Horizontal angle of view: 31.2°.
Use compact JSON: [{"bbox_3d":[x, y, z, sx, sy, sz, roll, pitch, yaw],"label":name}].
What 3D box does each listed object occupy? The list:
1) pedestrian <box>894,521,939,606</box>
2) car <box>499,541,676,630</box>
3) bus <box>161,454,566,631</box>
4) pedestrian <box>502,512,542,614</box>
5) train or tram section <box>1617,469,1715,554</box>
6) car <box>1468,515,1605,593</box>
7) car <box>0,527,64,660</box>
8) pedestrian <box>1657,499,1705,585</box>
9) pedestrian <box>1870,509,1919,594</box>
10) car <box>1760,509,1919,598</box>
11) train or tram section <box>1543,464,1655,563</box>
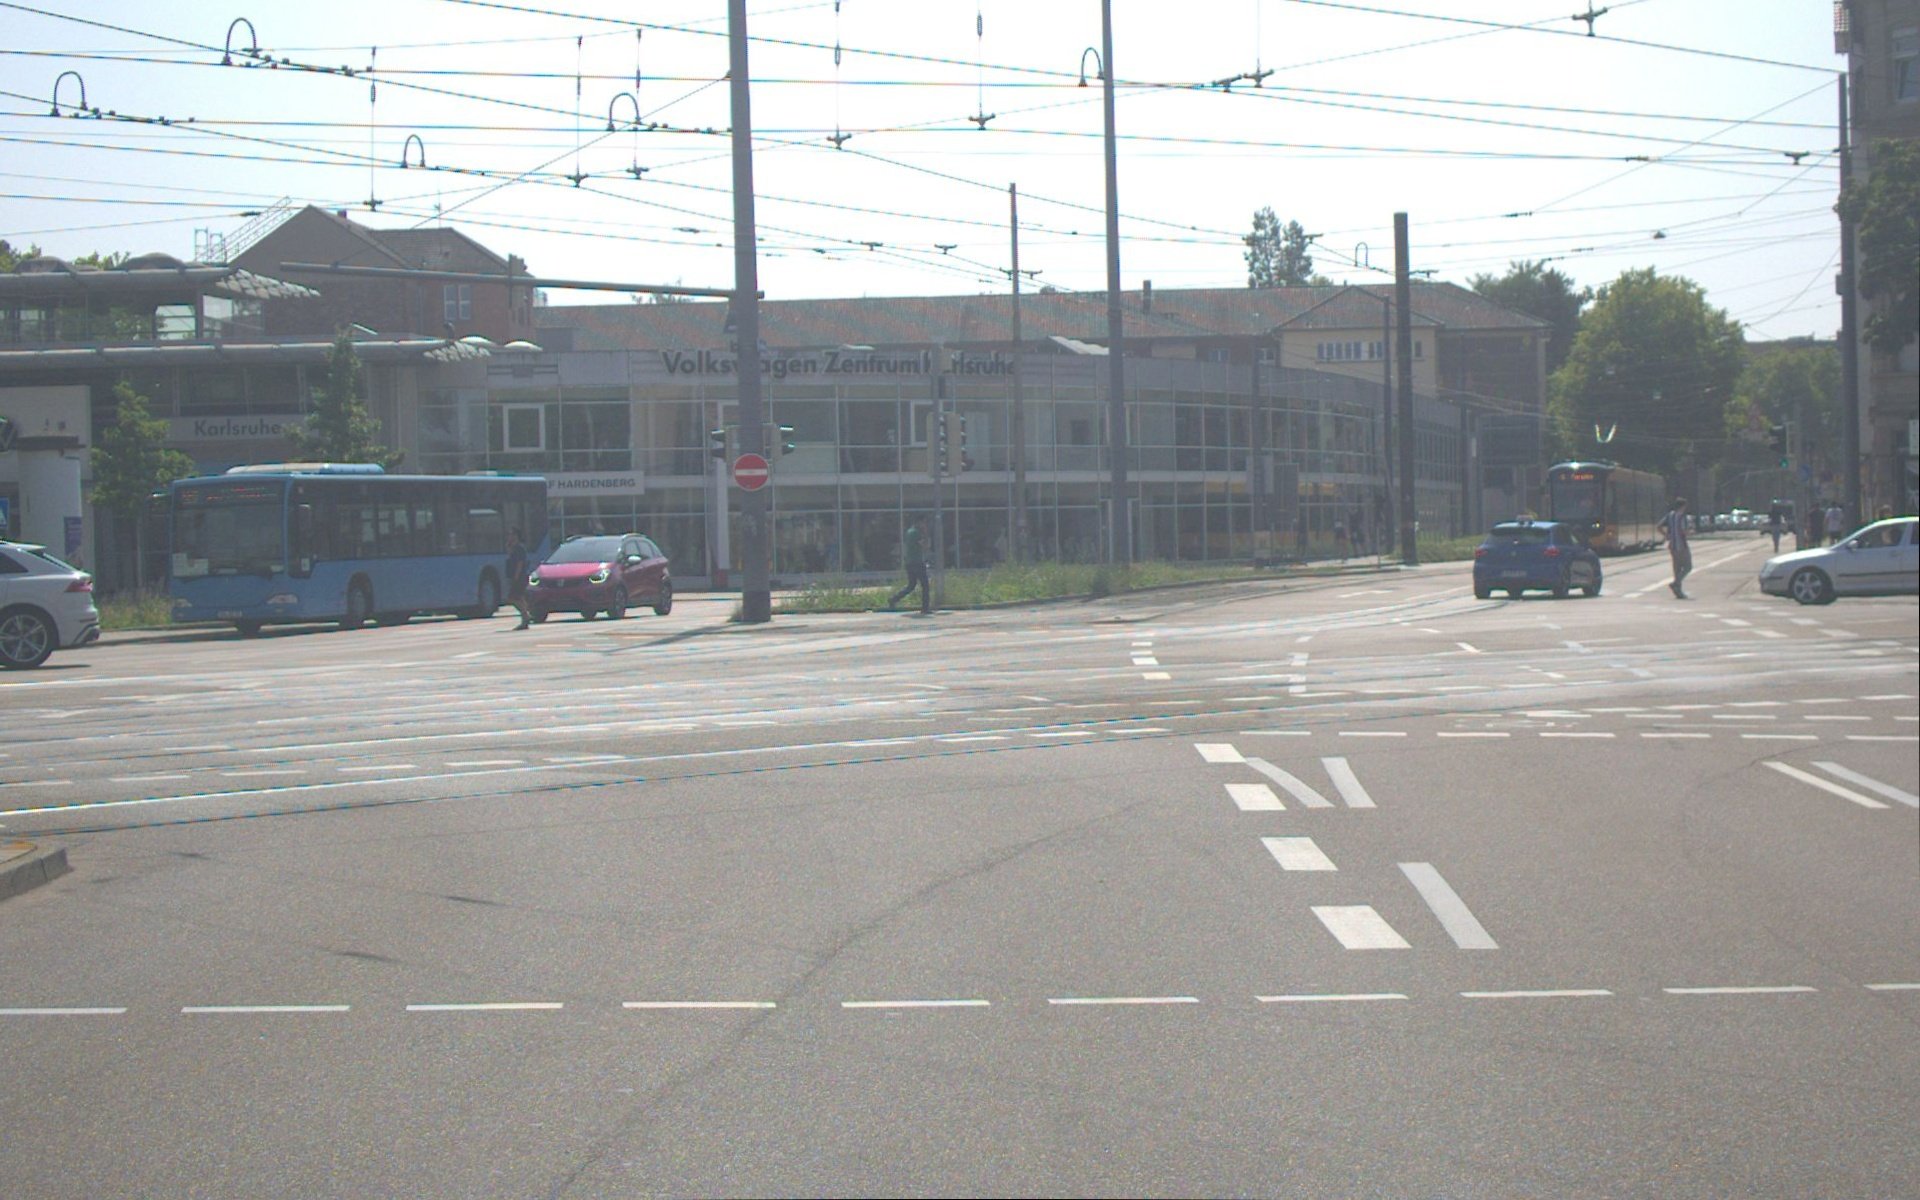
[{"bbox_3d":[-0.743,-0.629,58.938,0.676,1.438,0.366,-1,1,-17],"label":"pedestrian"},{"bbox_3d":[-6.834,-0.286,63.481,1.751,1.546,3.997,-1,1,18],"label":"car"},{"bbox_3d":[-11.250,-1.150,66.661,2.564,3.072,12.014,-1,1,17],"label":"bus"},{"bbox_3d":[-7.342,-0.620,57.587,0.552,1.678,0.454,-1,1,-18],"label":"pedestrian"},{"bbox_3d":[30.792,-3.835,149.498,2.590,3.504,12.961,-1,1,19],"label":"train or tram section"},{"bbox_3d":[10.906,-0.891,64.828,1.593,1.389,3.995,-1,1,24],"label":"car"},{"bbox_3d":[-13.395,-0.046,42.563,4.320,1.612,1.755,-2,1,-18],"label":"car"},{"bbox_3d":[13.561,-1.084,64.651,0.699,1.597,0.573,-1,1,-8],"label":"pedestrian"},{"bbox_3d":[17.321,-0.897,63.482,0.850,1.539,0.529,-1,1,-8],"label":"pedestrian"},{"bbox_3d":[15.440,-0.782,56.864,4.178,1.411,1.774,-1,1,17],"label":"car"},{"bbox_3d":[24.075,-3.237,129.019,2.590,3.504,10.889,-1,1,19],"label":"train or tram section"}]
